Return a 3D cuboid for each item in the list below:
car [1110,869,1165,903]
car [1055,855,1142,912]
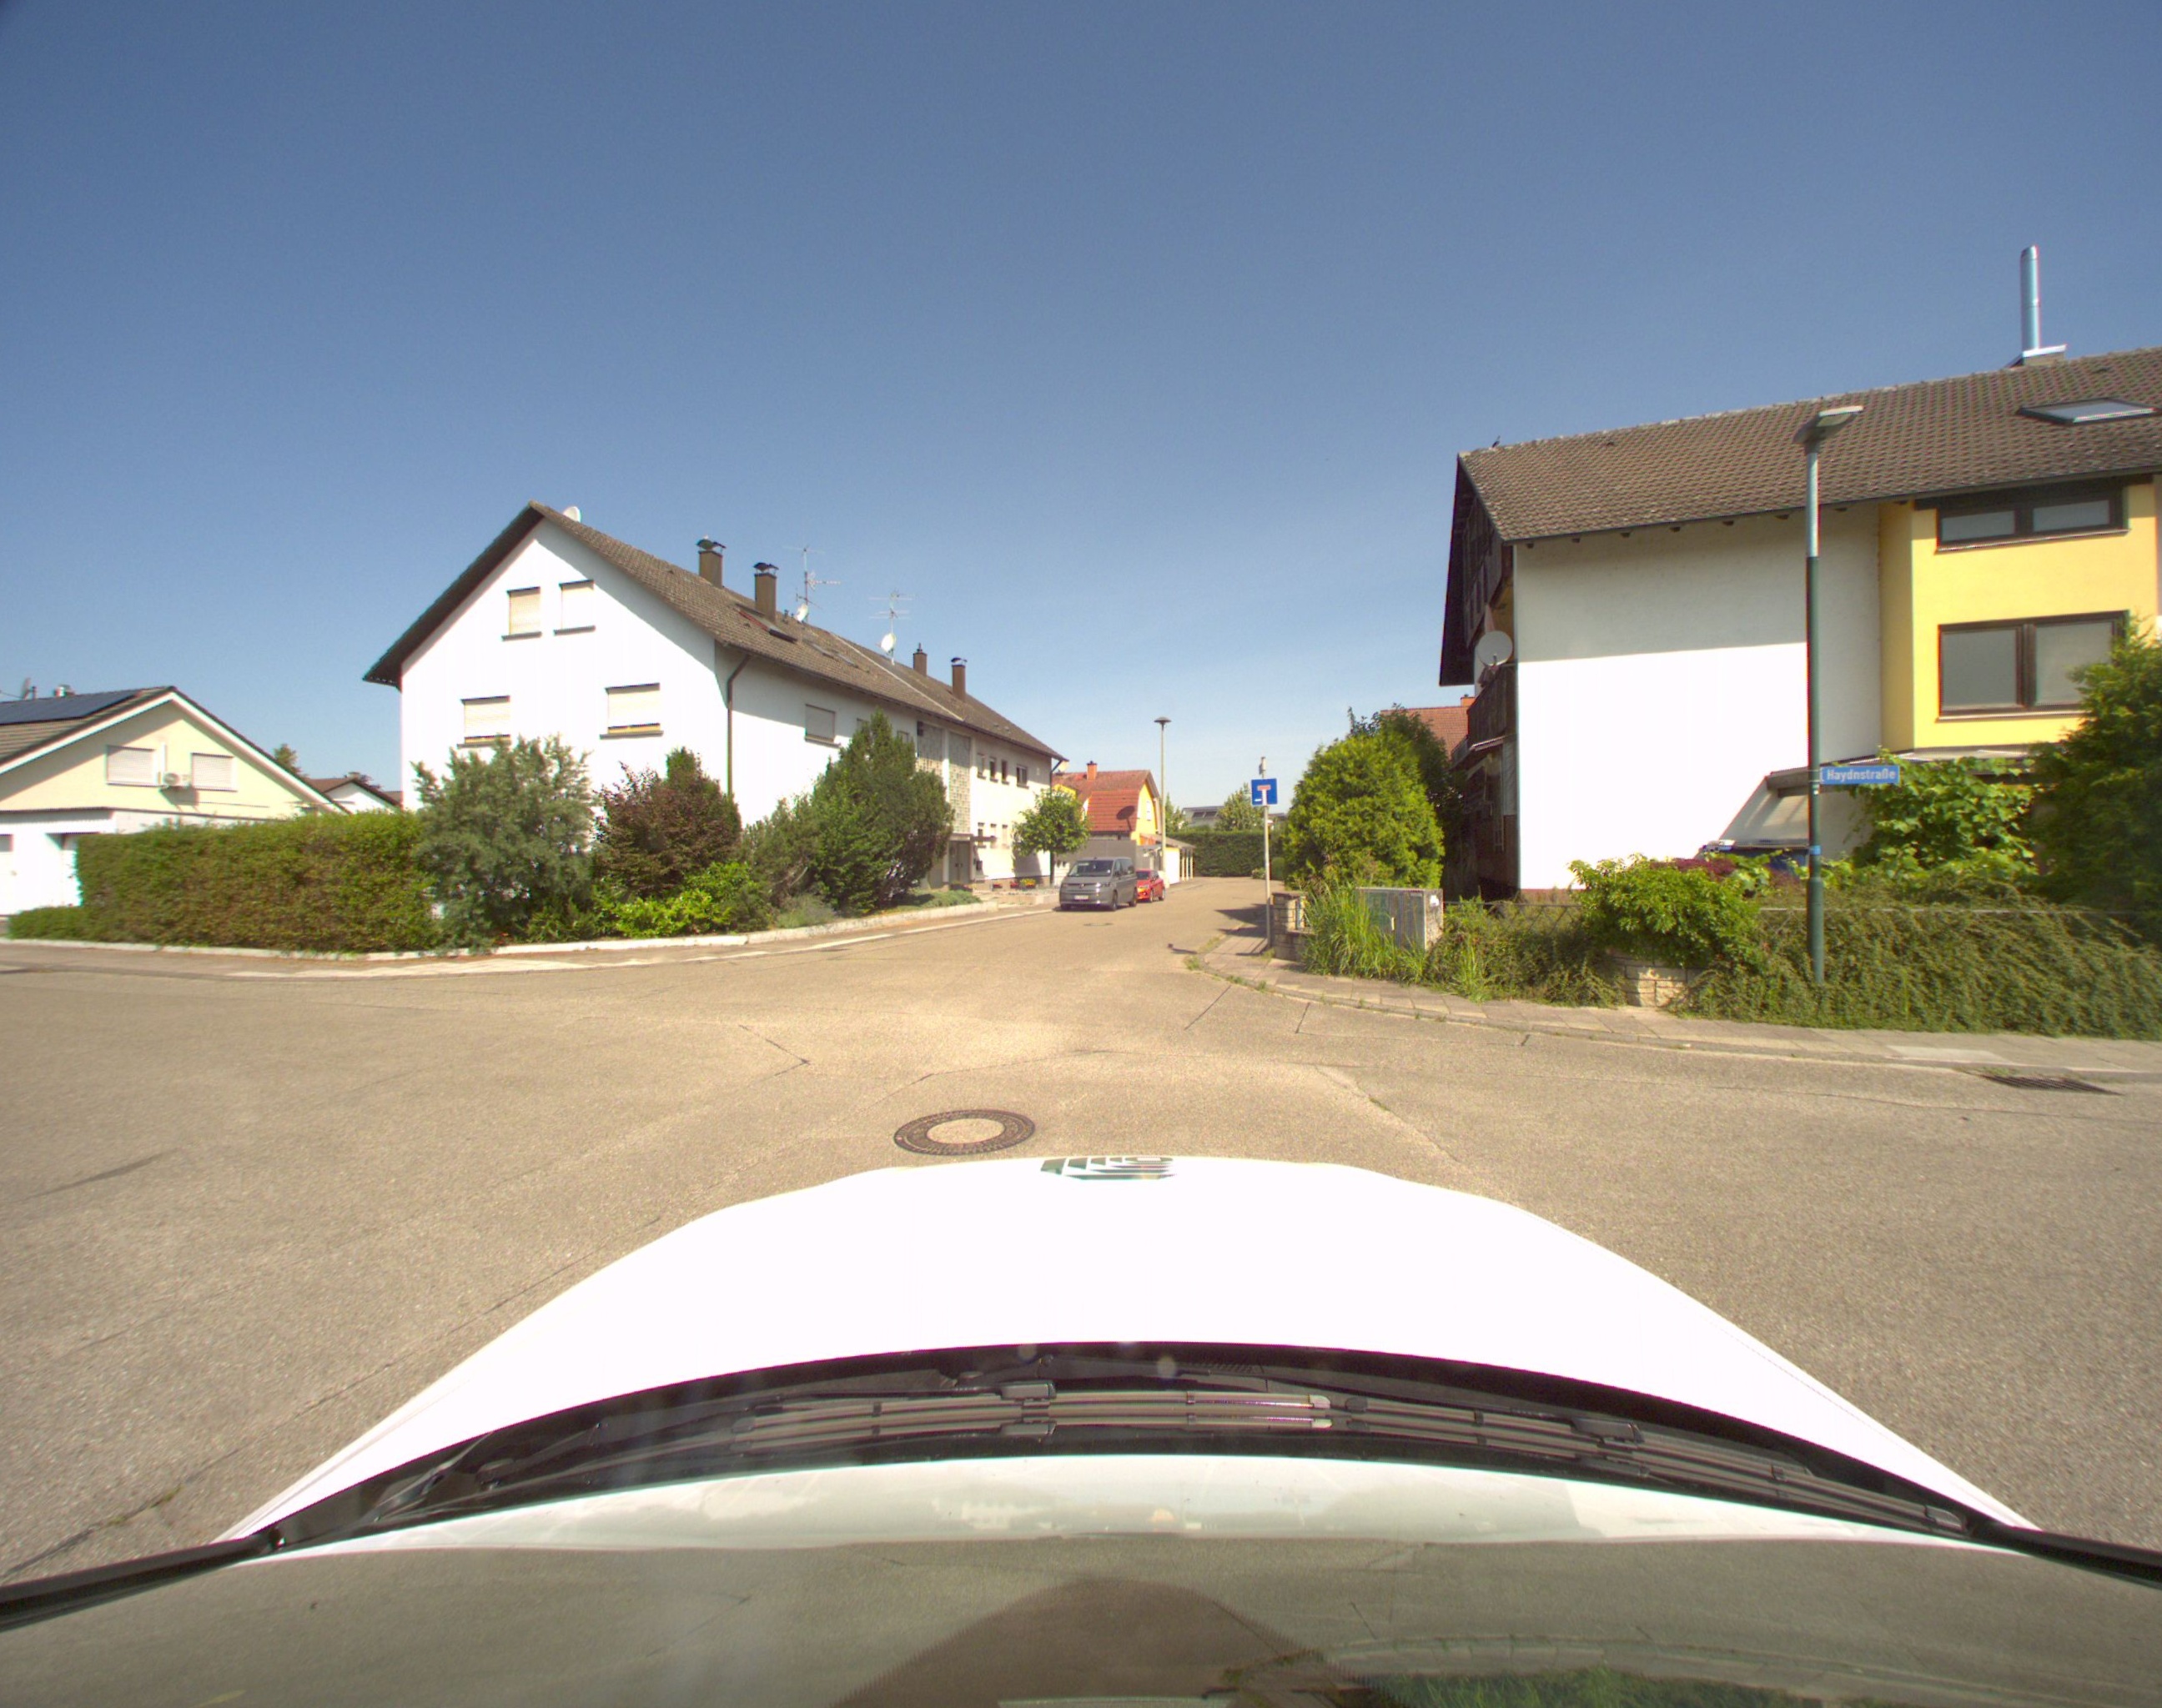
[{"bbox_3d":[2.517,1.360,35.777,1.639,1.365,3.795,-1,0,16],"label":"car"},{"bbox_3d":[0.724,1.006,29.505,1.885,1.870,4.392,-1,0,19],"label":"car"}]
